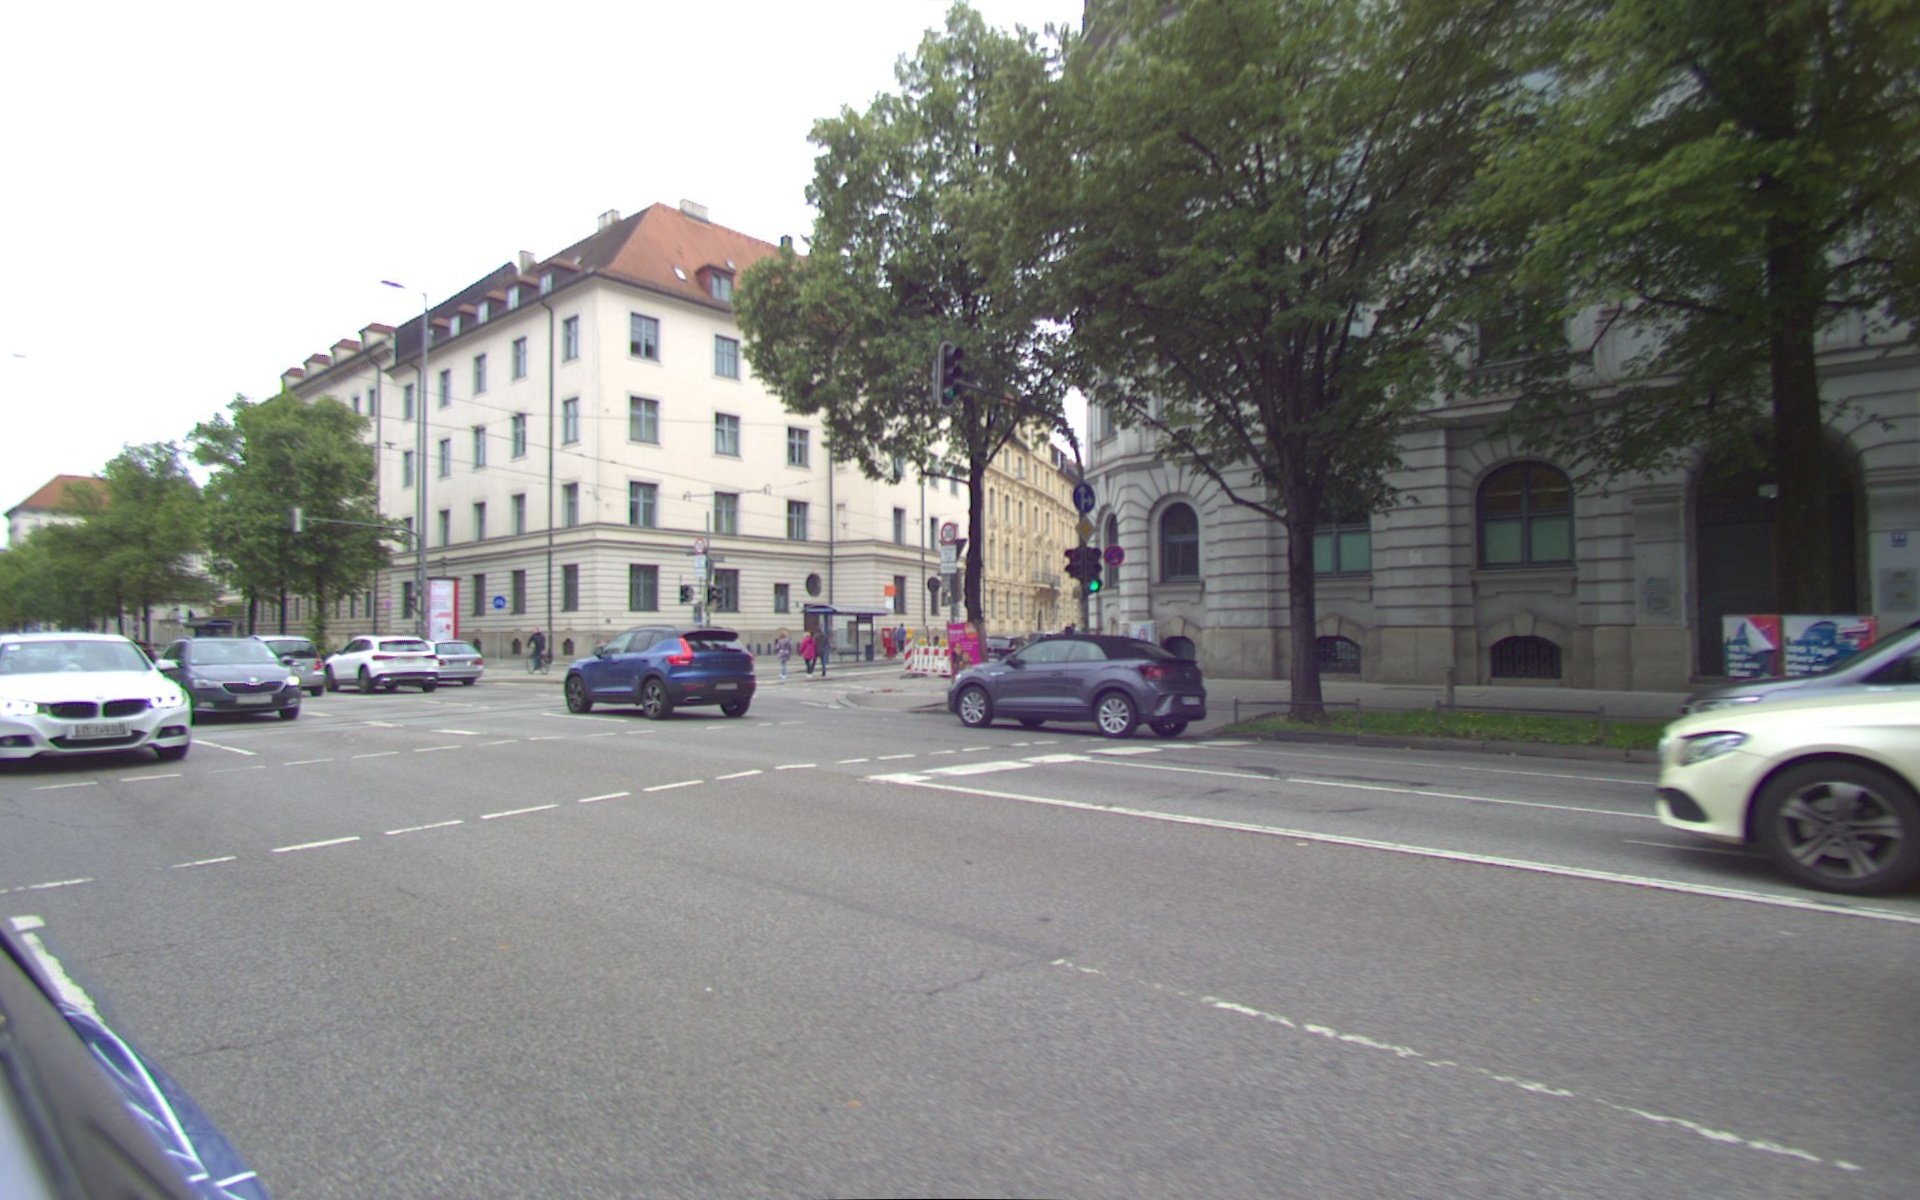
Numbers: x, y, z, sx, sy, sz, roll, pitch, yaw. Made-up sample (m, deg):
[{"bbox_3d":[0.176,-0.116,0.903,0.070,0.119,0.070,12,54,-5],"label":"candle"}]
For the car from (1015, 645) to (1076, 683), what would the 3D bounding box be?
[{"bbox_3d":[3.761,2.757,44.050,1.682,1.530,3.546,-2,-3,22],"label":"car"}]

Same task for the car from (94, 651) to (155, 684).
[{"bbox_3d":[-42.148,3.388,51.030,4.225,1.542,1.734,-3,-2,42],"label":"car"}]

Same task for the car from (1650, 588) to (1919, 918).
[{"bbox_3d":[6.152,0.694,4.555,4.821,1.554,1.808,-2,-2,42],"label":"car"}]

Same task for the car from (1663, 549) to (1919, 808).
[{"bbox_3d":[7.666,0.520,7.099,4.259,1.763,1.808,-2,-2,42],"label":"car"}]

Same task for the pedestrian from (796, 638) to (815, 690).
[{"bbox_3d":[-5.301,2.194,34.643,0.494,1.752,0.471,0,-2,-31],"label":"pedestrian"}]

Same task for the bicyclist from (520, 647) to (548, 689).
[{"bbox_3d":[-16.431,2.616,39.001,0.892,1.590,0.653,-3,-2,42],"label":"bicyclist"}]

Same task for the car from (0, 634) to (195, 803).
[{"bbox_3d":[-10.897,1.261,12.104,5.023,1.649,1.774,-2,-3,41],"label":"car"}]

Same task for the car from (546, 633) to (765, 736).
[{"bbox_3d":[-5.649,1.475,18.515,4.348,1.668,1.820,-3,-4,41],"label":"car"}]

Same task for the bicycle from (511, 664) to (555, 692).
[{"bbox_3d":[-16.489,3.009,39.058,2.180,0.995,0.655,-3,-2,42],"label":"bicycle"}]

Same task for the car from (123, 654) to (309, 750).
[{"bbox_3d":[-13.387,1.729,18.122,4.272,1.458,1.774,-2,-3,41],"label":"car"}]

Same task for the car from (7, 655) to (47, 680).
[{"bbox_3d":[-65.986,4.752,71.572,4.163,1.652,1.661,-3,-3,42],"label":"car"}]

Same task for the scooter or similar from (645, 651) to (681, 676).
[{"bbox_3d":[-13.937,2.954,47.501,1.947,1.127,0.681,-3,-2,42],"label":"scooter or similar"}]

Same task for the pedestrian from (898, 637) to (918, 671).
[{"bbox_3d":[-2.908,3.002,56.683,0.660,1.866,0.797,-3,-2,42],"label":"pedestrian"}]

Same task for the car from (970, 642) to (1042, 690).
[{"bbox_3d":[1.834,2.555,39.476,1.682,1.744,3.546,-2,-3,22],"label":"car"}]

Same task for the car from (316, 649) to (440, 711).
[{"bbox_3d":[-16.293,2.211,28.265,3.997,1.608,1.726,-3,-5,41],"label":"car"}]

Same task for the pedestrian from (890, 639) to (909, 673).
[{"bbox_3d":[-3.418,3.177,57.115,0.660,1.866,0.797,-3,-2,42],"label":"pedestrian"}]

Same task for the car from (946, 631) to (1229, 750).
[{"bbox_3d":[1.861,1.305,15.591,4.055,1.588,1.716,-3,-3,41],"label":"car"}]

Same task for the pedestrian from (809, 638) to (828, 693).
[{"bbox_3d":[-4.927,2.269,35.165,0.494,1.869,0.471,0,-2,-31],"label":"pedestrian"}]

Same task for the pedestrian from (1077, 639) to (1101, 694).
[{"bbox_3d":[4.824,2.476,37.819,0.662,2.029,0.775,-2,-1,20],"label":"pedestrian"}]

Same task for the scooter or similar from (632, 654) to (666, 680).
[{"bbox_3d":[-14.389,3.104,46.811,0.680,1.127,1.950,-1,-2,-43],"label":"scooter or similar"}]

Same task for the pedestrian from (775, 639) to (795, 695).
[{"bbox_3d":[-5.903,2.247,34.079,0.494,1.869,0.529,0,-2,-31],"label":"pedestrian"}]

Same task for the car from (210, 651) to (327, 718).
[{"bbox_3d":[-18.117,2.161,26.464,3.944,1.584,1.617,-3,-3,41],"label":"car"}]

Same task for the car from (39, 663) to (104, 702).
[{"bbox_3d":[-38.366,3.527,43.681,3.944,1.584,1.617,-3,-3,41],"label":"car"}]

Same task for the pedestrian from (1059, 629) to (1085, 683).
[{"bbox_3d":[4.352,2.176,39.400,0.797,2.029,0.775,-2,-1,20],"label":"pedestrian"}]

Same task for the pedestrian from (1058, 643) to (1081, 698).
[{"bbox_3d":[4.130,2.639,38.058,0.638,2.029,0.775,-2,-1,20],"label":"pedestrian"}]

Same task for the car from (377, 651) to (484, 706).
[{"bbox_3d":[-16.890,2.449,32.215,4.055,1.588,1.716,-3,-3,41],"label":"car"}]
